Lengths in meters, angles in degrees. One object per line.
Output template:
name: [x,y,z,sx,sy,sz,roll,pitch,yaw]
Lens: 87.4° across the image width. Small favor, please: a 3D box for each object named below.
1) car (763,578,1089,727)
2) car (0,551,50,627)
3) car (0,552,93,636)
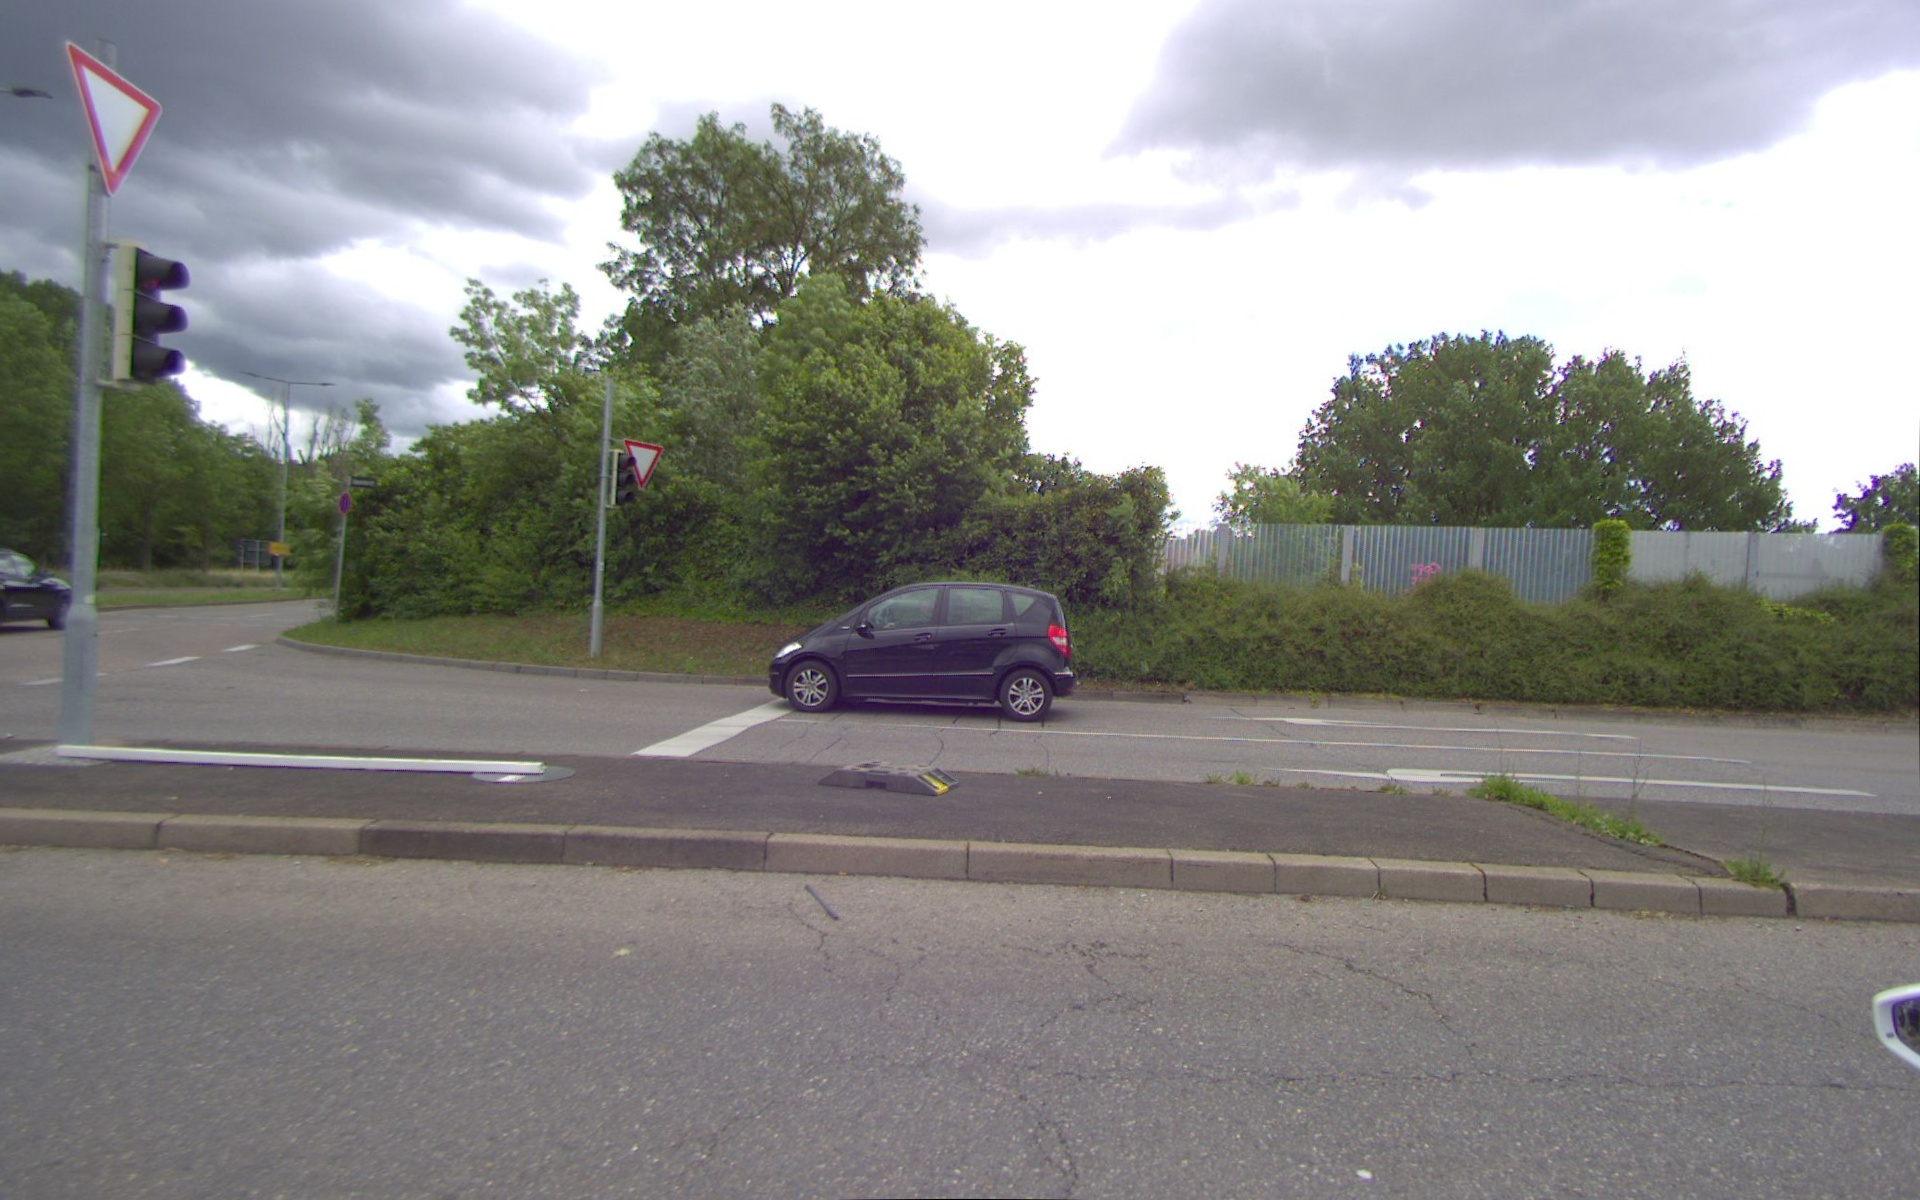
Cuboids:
car: [-0.352,0.614,12.359,3.712,1.572,1.644,2,-1,4]
car: [-28.983,-0.347,29.507,1.908,2.021,4.297,4,3,-23]
car: [-18.471,-0.158,19.043,1.634,1.528,3.756,1,1,-16]
